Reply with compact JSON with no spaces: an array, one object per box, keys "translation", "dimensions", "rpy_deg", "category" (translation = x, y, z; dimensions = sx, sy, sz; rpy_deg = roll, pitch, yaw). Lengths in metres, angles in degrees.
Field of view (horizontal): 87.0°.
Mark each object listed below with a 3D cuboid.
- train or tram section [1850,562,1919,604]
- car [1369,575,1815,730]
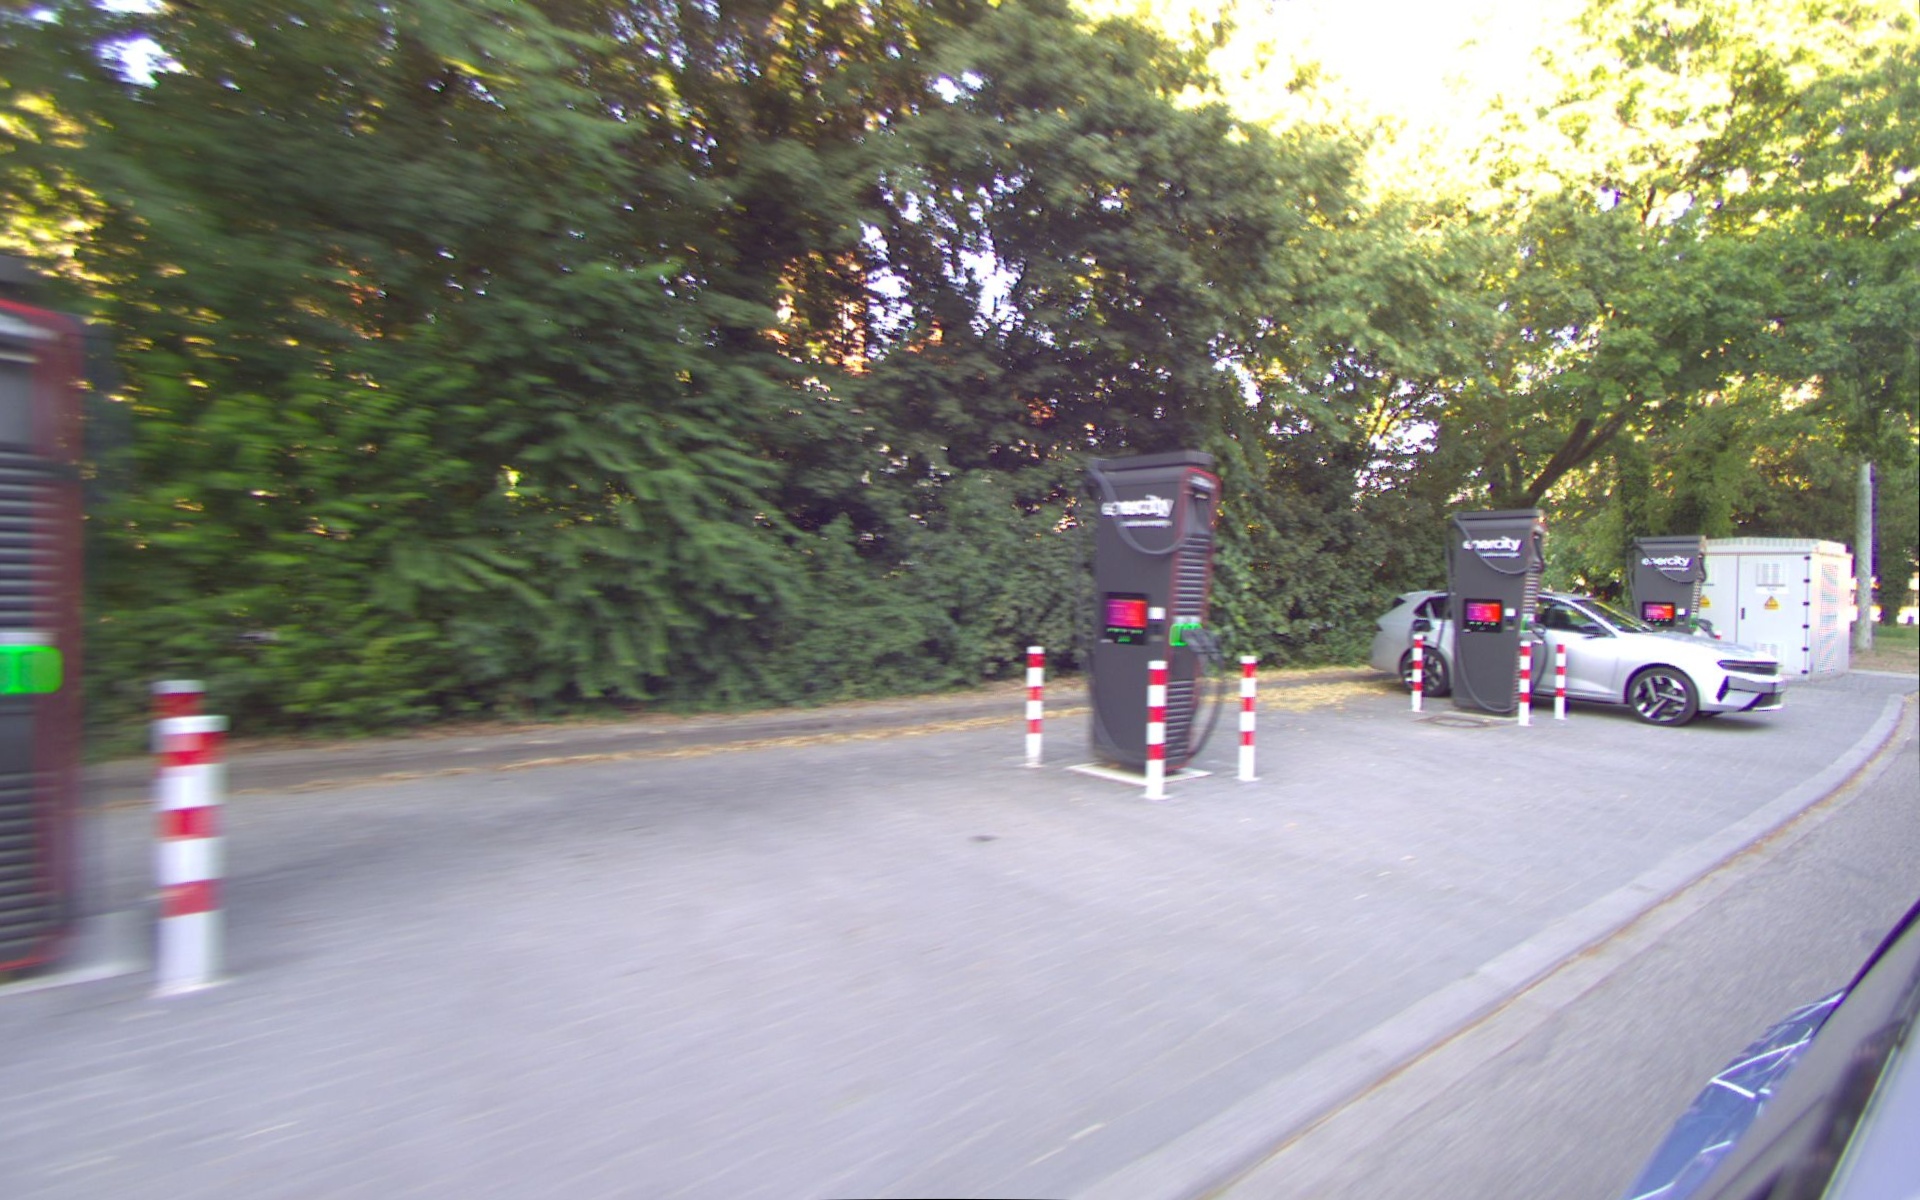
[{"translation":[84.486,-1.372,85.145],"dimensions":[3.061,3.603,17.489],"rpy_deg":[1,1,-2],"category":"train or tram section"},{"translation":[7.741,0.508,12.799],"dimensions":[1.751,1.487,4.451],"rpy_deg":[0,2,-40],"category":"car"}]
